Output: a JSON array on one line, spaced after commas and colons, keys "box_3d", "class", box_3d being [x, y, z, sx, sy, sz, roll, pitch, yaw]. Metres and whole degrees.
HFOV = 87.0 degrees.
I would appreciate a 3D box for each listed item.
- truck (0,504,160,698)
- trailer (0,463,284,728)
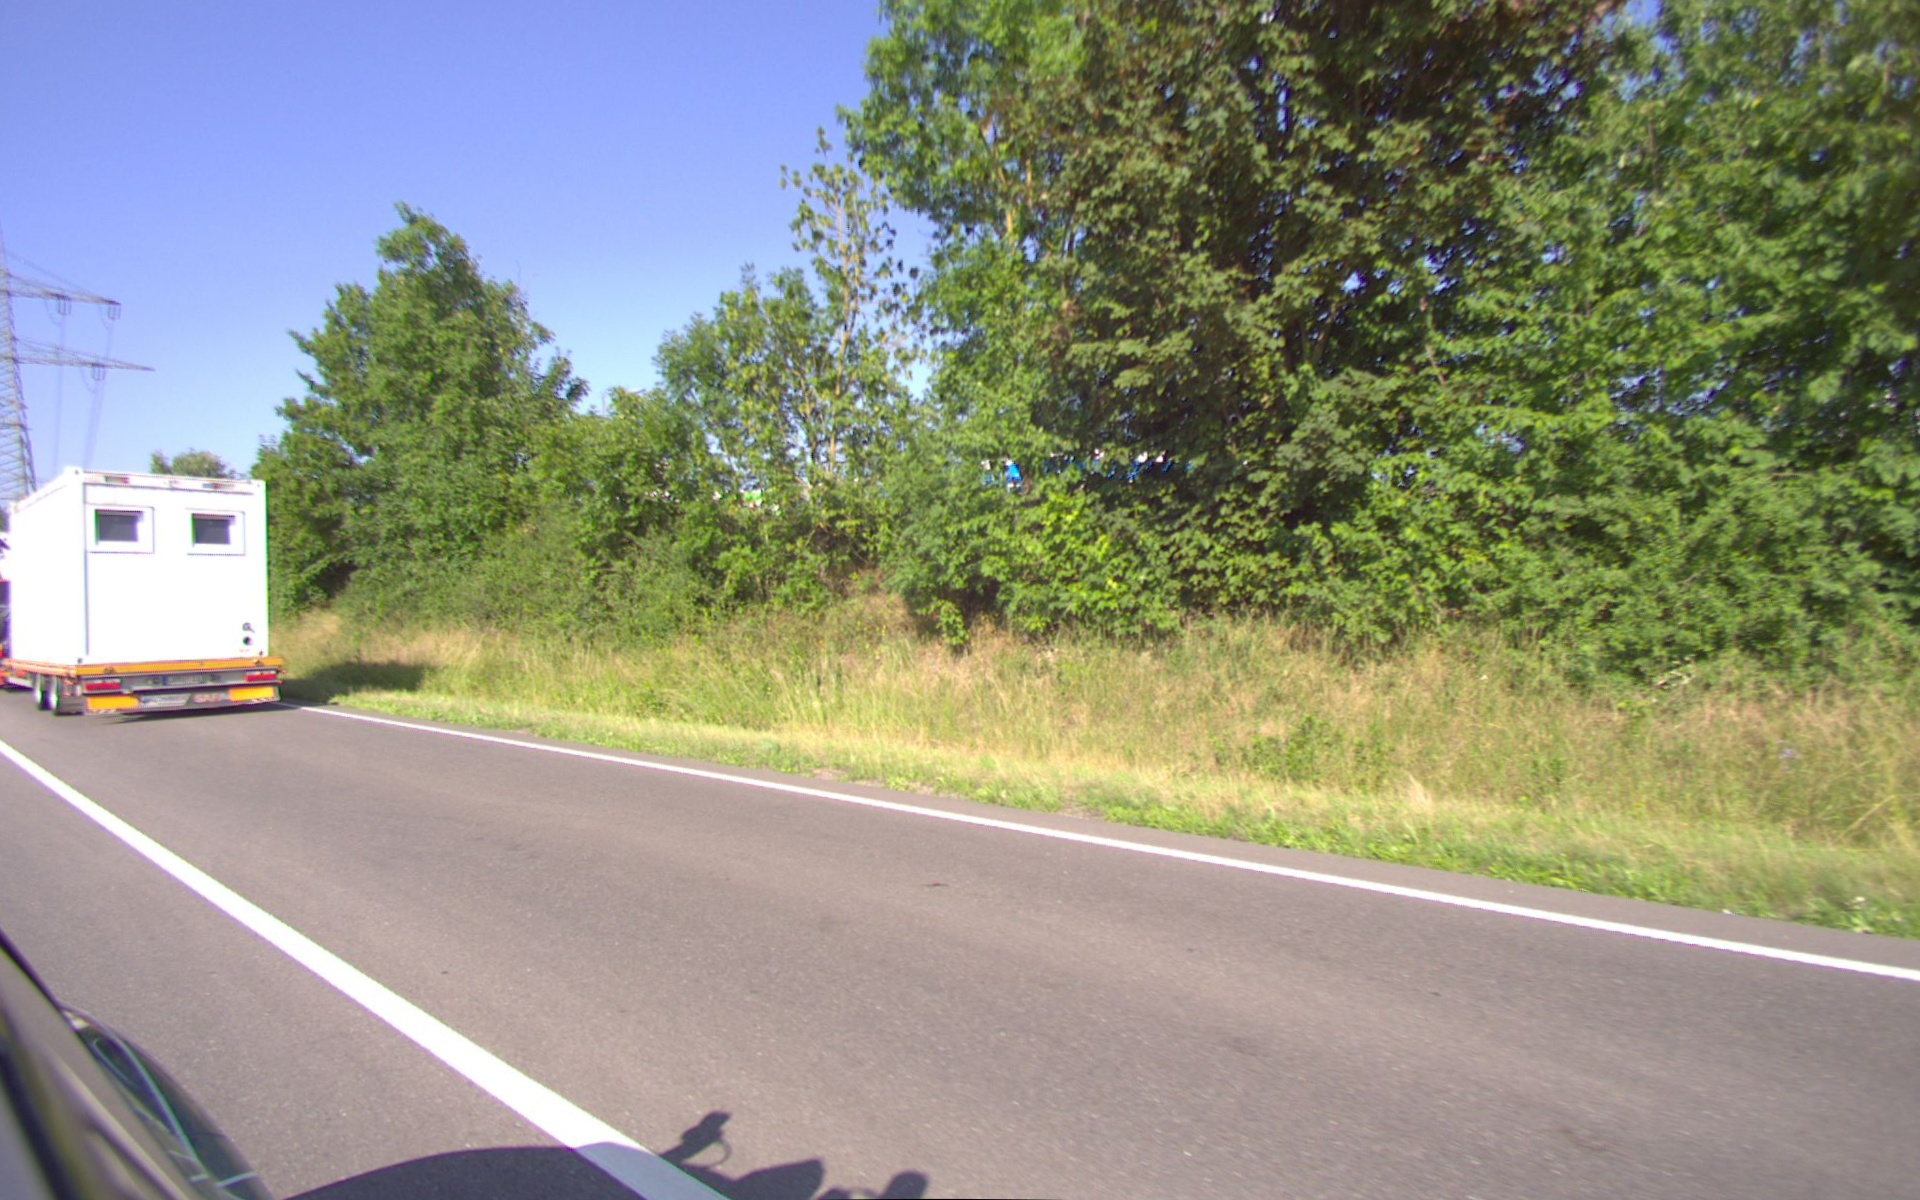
[{"box_3d": [-21.560, 0.094, 23.725, 10.482, 3.716, 2.533, -1, 0, 41], "class": "truck"}, {"box_3d": [-14.460, -0.006, 17.496, 8.288, 3.623, 2.533, -1, 0, 41], "class": "trailer"}]
